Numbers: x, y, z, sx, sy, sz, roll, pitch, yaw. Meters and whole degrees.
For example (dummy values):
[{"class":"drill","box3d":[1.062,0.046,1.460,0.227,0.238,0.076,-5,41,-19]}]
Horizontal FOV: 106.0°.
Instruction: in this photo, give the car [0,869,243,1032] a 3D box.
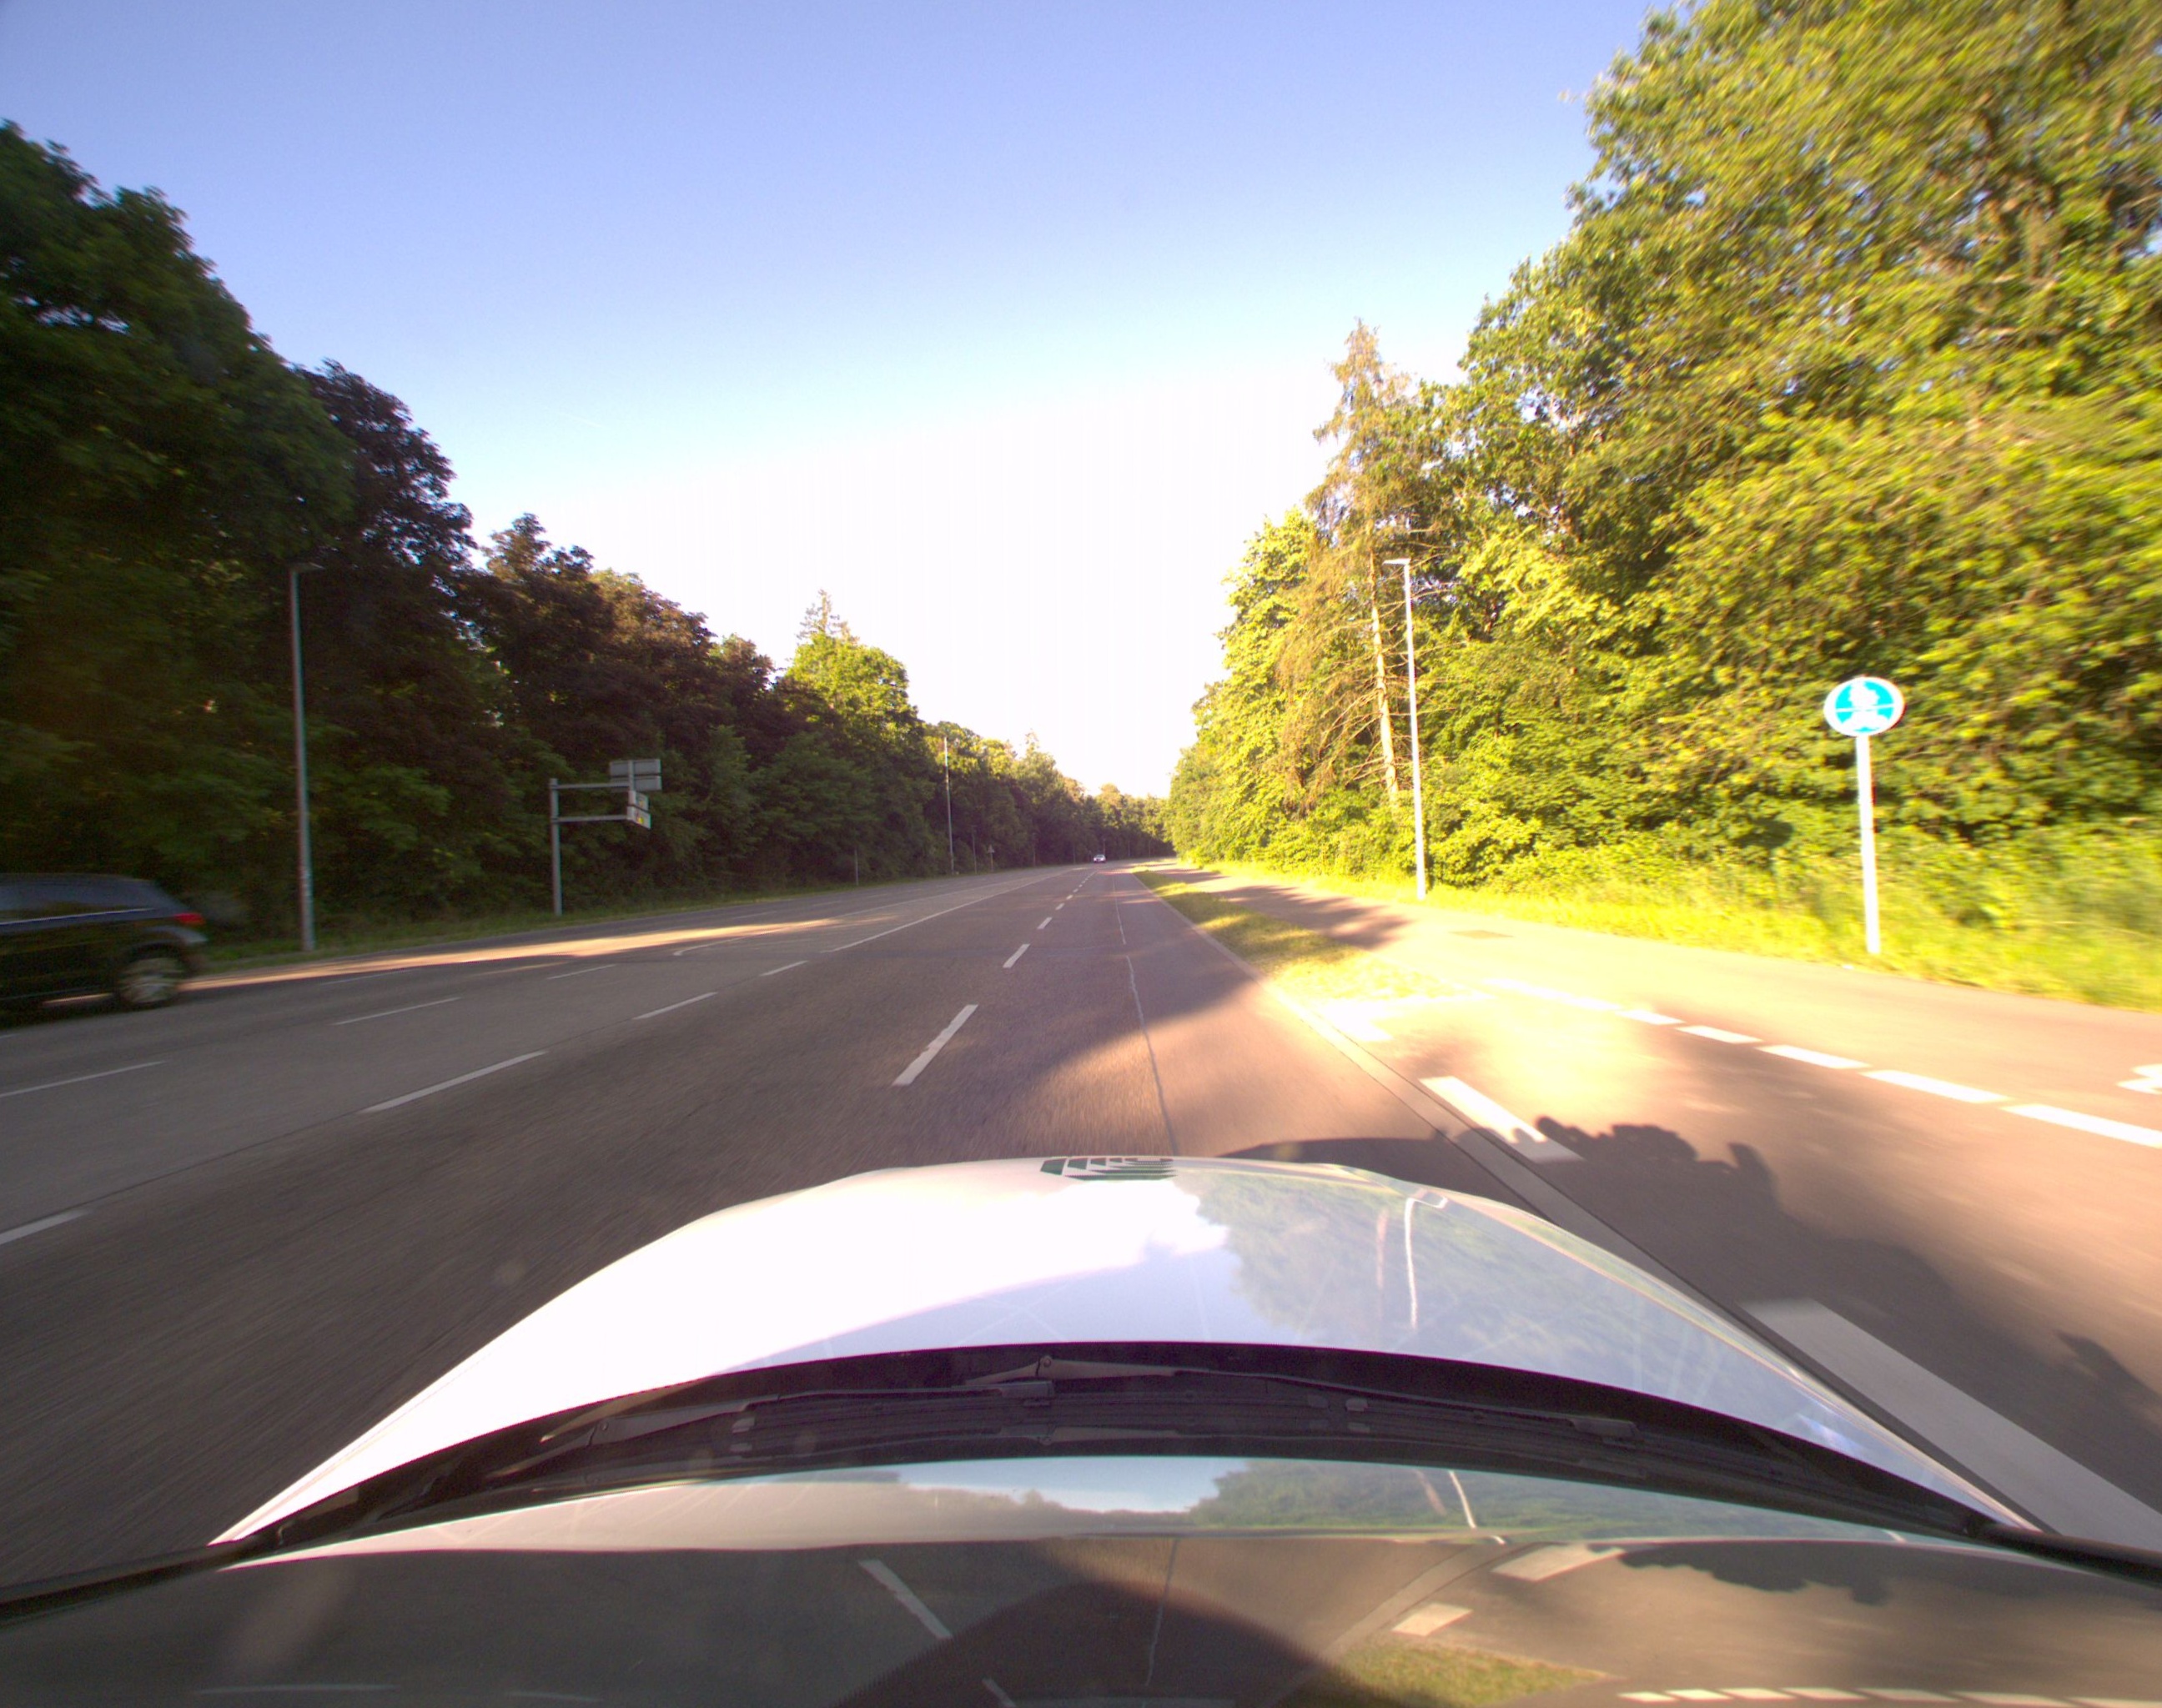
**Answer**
[{"class":"car","box3d":[-11.718,1.007,8.264,1.818,1.589,4.353,-2,0,2]}]

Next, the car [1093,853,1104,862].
[{"class":"car","box3d":[3.416,0.657,158.904,1.900,1.664,4.736,-2,0,2]}]
